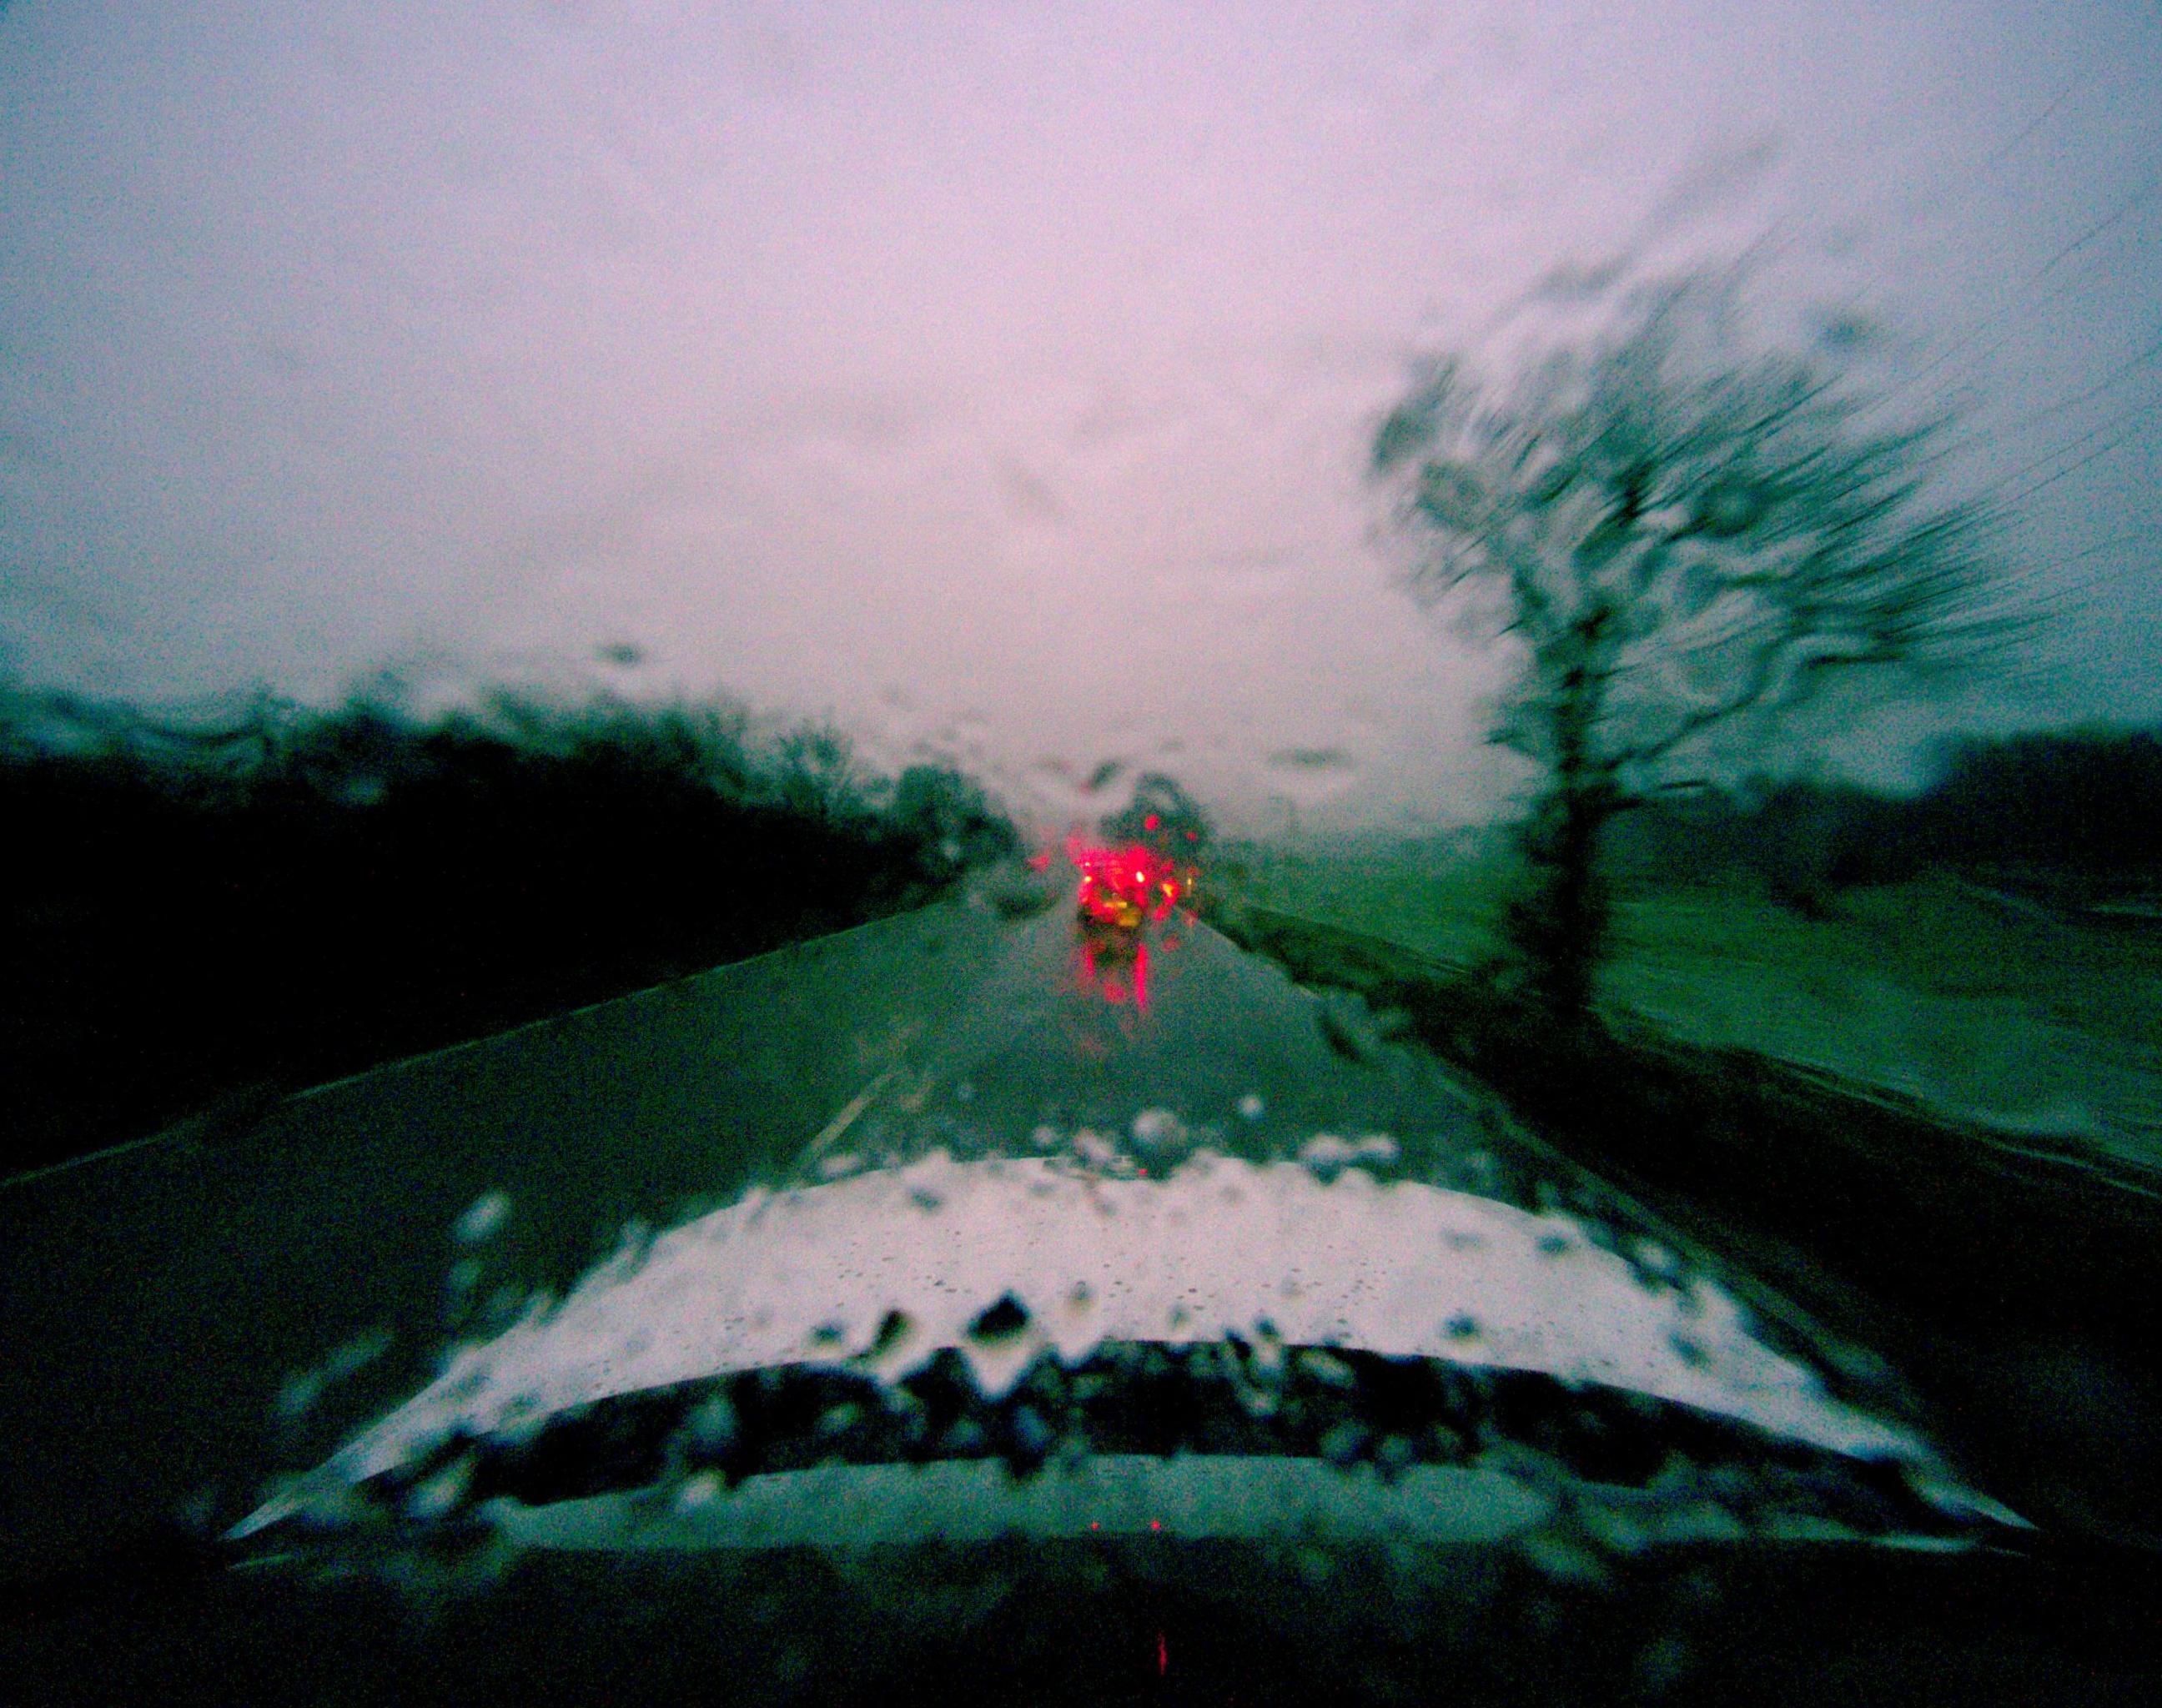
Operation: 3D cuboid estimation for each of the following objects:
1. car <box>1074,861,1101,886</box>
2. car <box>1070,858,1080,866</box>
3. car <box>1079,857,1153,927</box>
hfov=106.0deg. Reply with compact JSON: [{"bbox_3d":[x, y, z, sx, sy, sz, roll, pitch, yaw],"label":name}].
[{"bbox_3d":[0.360,1.129,48.247,1.542,1.397,3.868,0,0,-1],"label":"car"},{"bbox_3d":[-1.047,1.384,143.157,1.542,1.397,3.869,0,0,0],"label":"car"},{"bbox_3d":[0.838,0.851,19.749,1.596,1.522,3.871,0,0,2],"label":"car"}]
